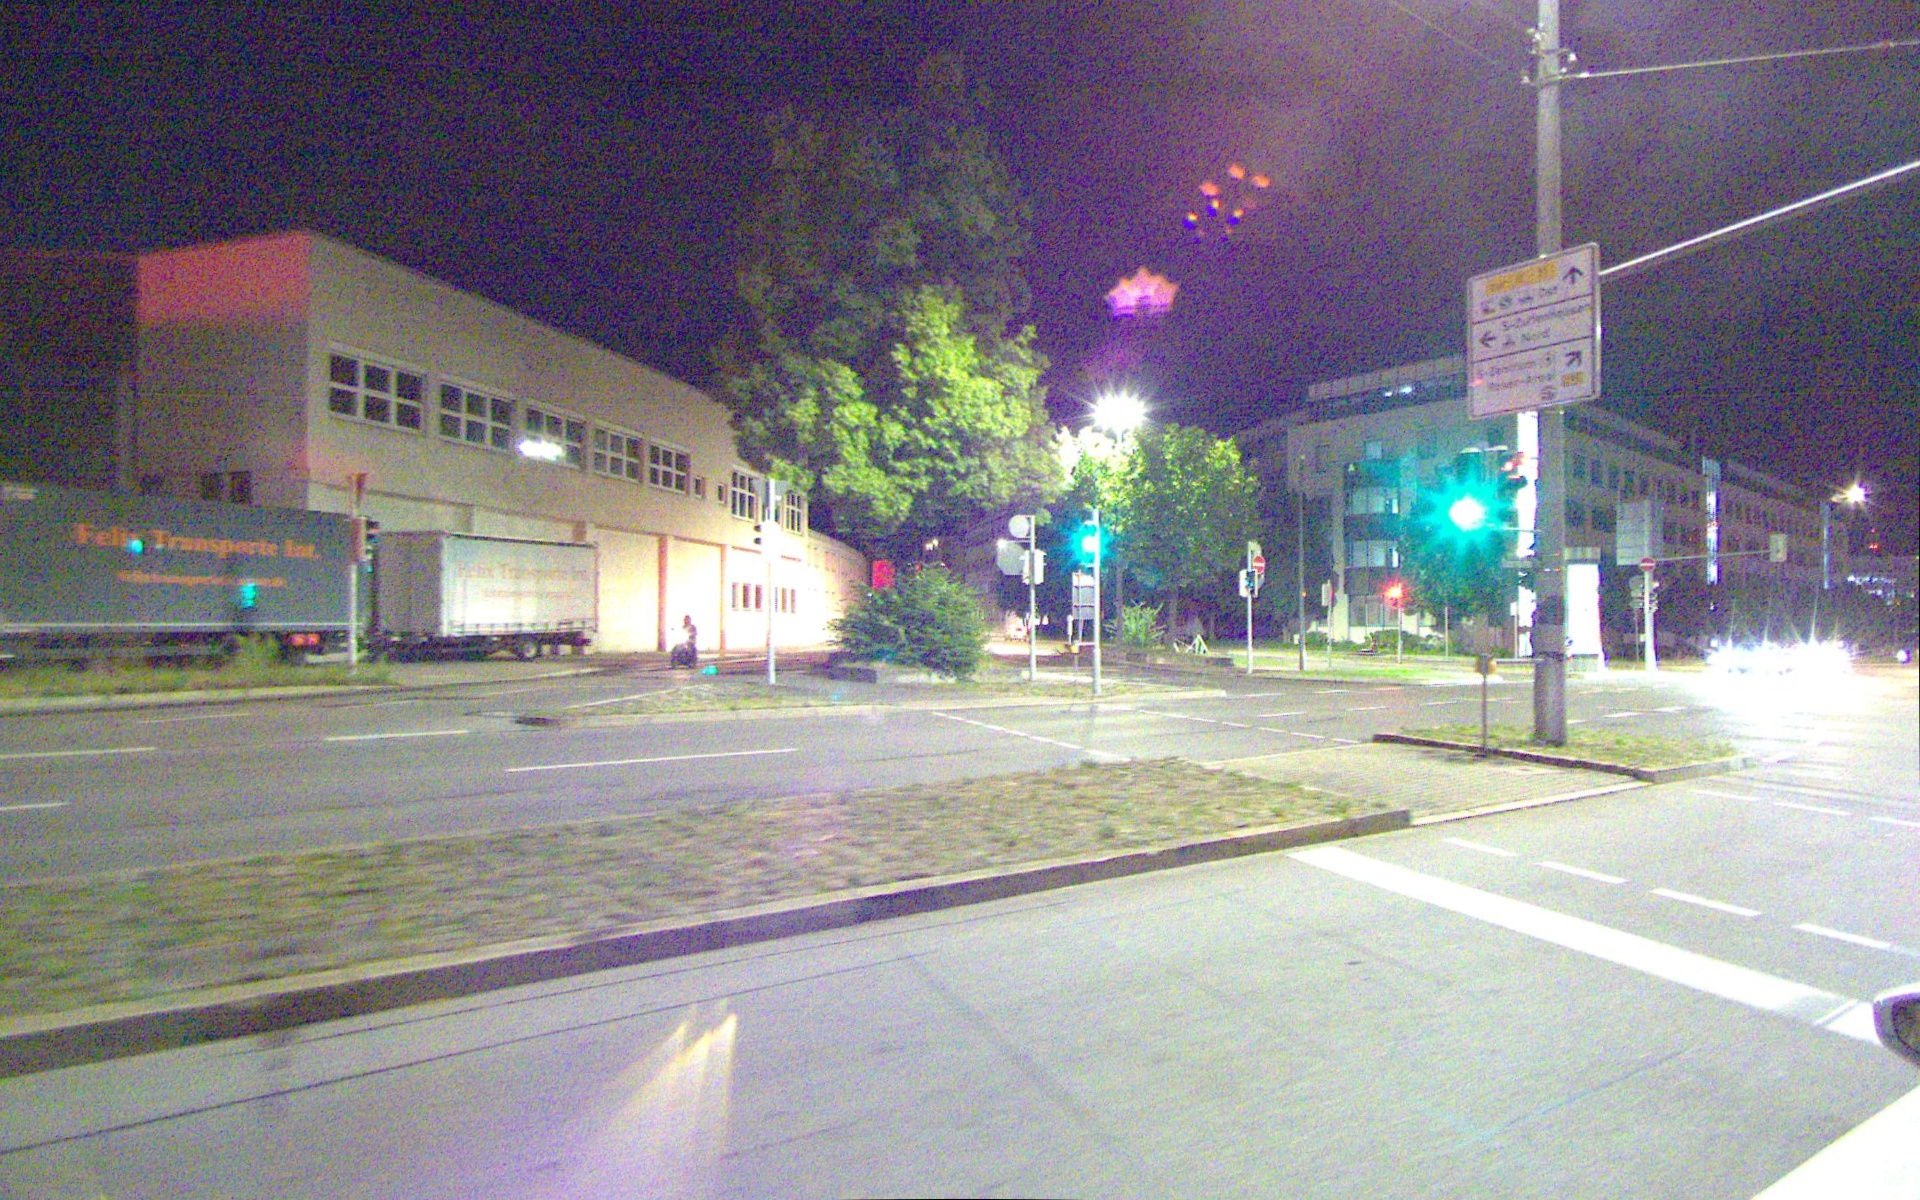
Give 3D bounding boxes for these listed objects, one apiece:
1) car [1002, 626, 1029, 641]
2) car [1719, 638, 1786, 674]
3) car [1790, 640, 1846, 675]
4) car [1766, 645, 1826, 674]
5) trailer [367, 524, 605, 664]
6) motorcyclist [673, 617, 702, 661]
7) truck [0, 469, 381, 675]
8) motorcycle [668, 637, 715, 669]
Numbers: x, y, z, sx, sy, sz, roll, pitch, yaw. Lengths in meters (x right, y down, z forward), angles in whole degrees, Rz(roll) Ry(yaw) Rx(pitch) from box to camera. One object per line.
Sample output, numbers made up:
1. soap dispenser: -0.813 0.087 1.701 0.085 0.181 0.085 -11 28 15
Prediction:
1. car: 5.619 3.385 102.333 1.679 1.511 3.990 2 -2 -13
2. car: 36.467 2.584 46.179 3.966 1.535 1.603 3 -2 -39
3. car: 46.313 3.090 54.203 3.518 1.750 1.743 3 -2 -40
4. car: 42.264 2.994 50.751 3.518 1.339 1.743 3 -2 -40
5. trailer: -14.305 -0.051 30.962 2.571 3.840 6.513 1 -2 22
6. motorcyclist: -8.102 1.158 29.887 0.635 1.278 0.579 1 -1 9
7. truck: -18.125 -0.432 21.899 2.892 3.846 9.552 1 -2 24
8. motorcycle: -8.017 1.572 30.088 0.568 0.907 2.157 -1 -2 8
